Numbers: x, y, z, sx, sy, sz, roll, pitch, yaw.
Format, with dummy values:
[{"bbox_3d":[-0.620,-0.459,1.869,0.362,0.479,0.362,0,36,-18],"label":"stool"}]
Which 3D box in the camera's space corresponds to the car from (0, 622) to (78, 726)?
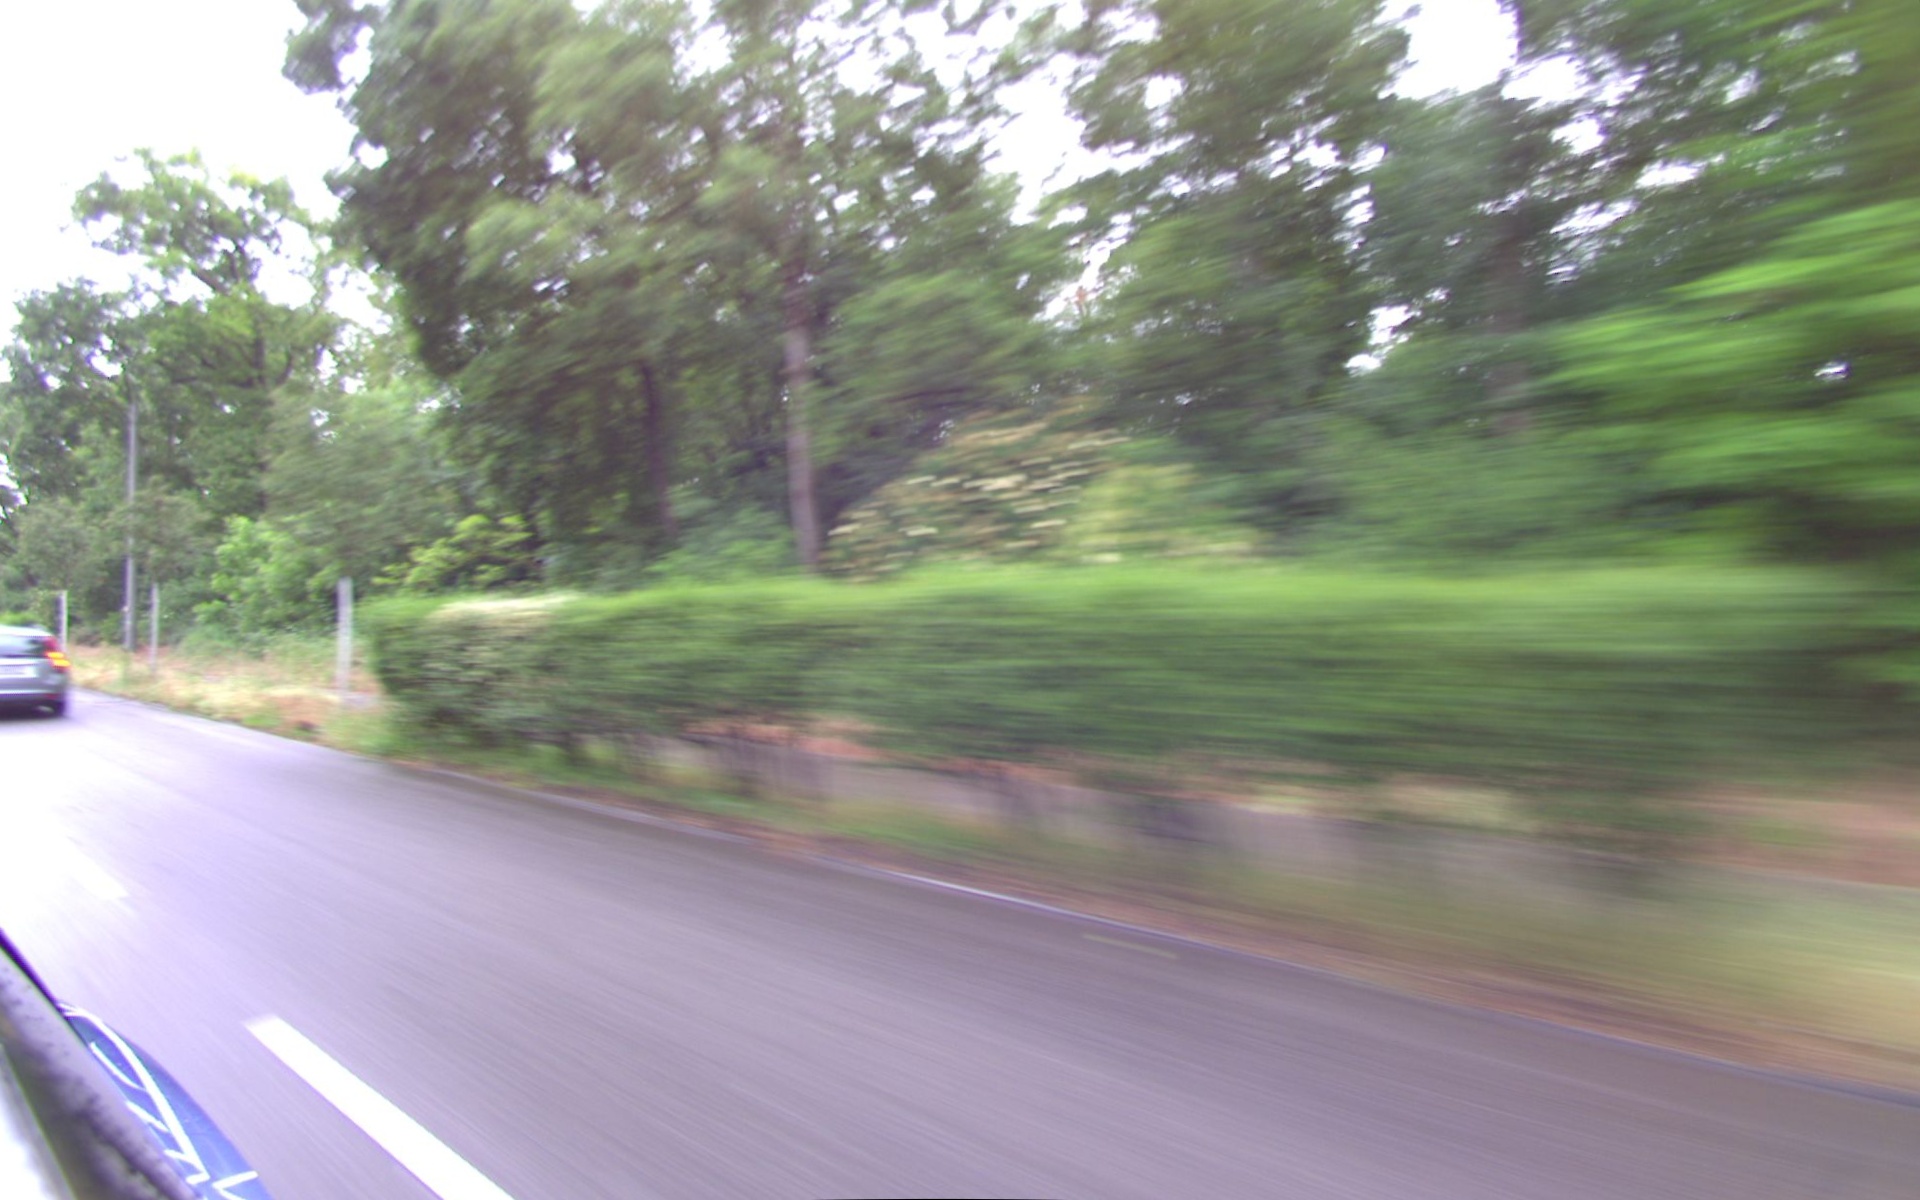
[{"bbox_3d":[-15.863,1.132,16.412,3.965,1.490,1.765,0,-1,40],"label":"car"}]
